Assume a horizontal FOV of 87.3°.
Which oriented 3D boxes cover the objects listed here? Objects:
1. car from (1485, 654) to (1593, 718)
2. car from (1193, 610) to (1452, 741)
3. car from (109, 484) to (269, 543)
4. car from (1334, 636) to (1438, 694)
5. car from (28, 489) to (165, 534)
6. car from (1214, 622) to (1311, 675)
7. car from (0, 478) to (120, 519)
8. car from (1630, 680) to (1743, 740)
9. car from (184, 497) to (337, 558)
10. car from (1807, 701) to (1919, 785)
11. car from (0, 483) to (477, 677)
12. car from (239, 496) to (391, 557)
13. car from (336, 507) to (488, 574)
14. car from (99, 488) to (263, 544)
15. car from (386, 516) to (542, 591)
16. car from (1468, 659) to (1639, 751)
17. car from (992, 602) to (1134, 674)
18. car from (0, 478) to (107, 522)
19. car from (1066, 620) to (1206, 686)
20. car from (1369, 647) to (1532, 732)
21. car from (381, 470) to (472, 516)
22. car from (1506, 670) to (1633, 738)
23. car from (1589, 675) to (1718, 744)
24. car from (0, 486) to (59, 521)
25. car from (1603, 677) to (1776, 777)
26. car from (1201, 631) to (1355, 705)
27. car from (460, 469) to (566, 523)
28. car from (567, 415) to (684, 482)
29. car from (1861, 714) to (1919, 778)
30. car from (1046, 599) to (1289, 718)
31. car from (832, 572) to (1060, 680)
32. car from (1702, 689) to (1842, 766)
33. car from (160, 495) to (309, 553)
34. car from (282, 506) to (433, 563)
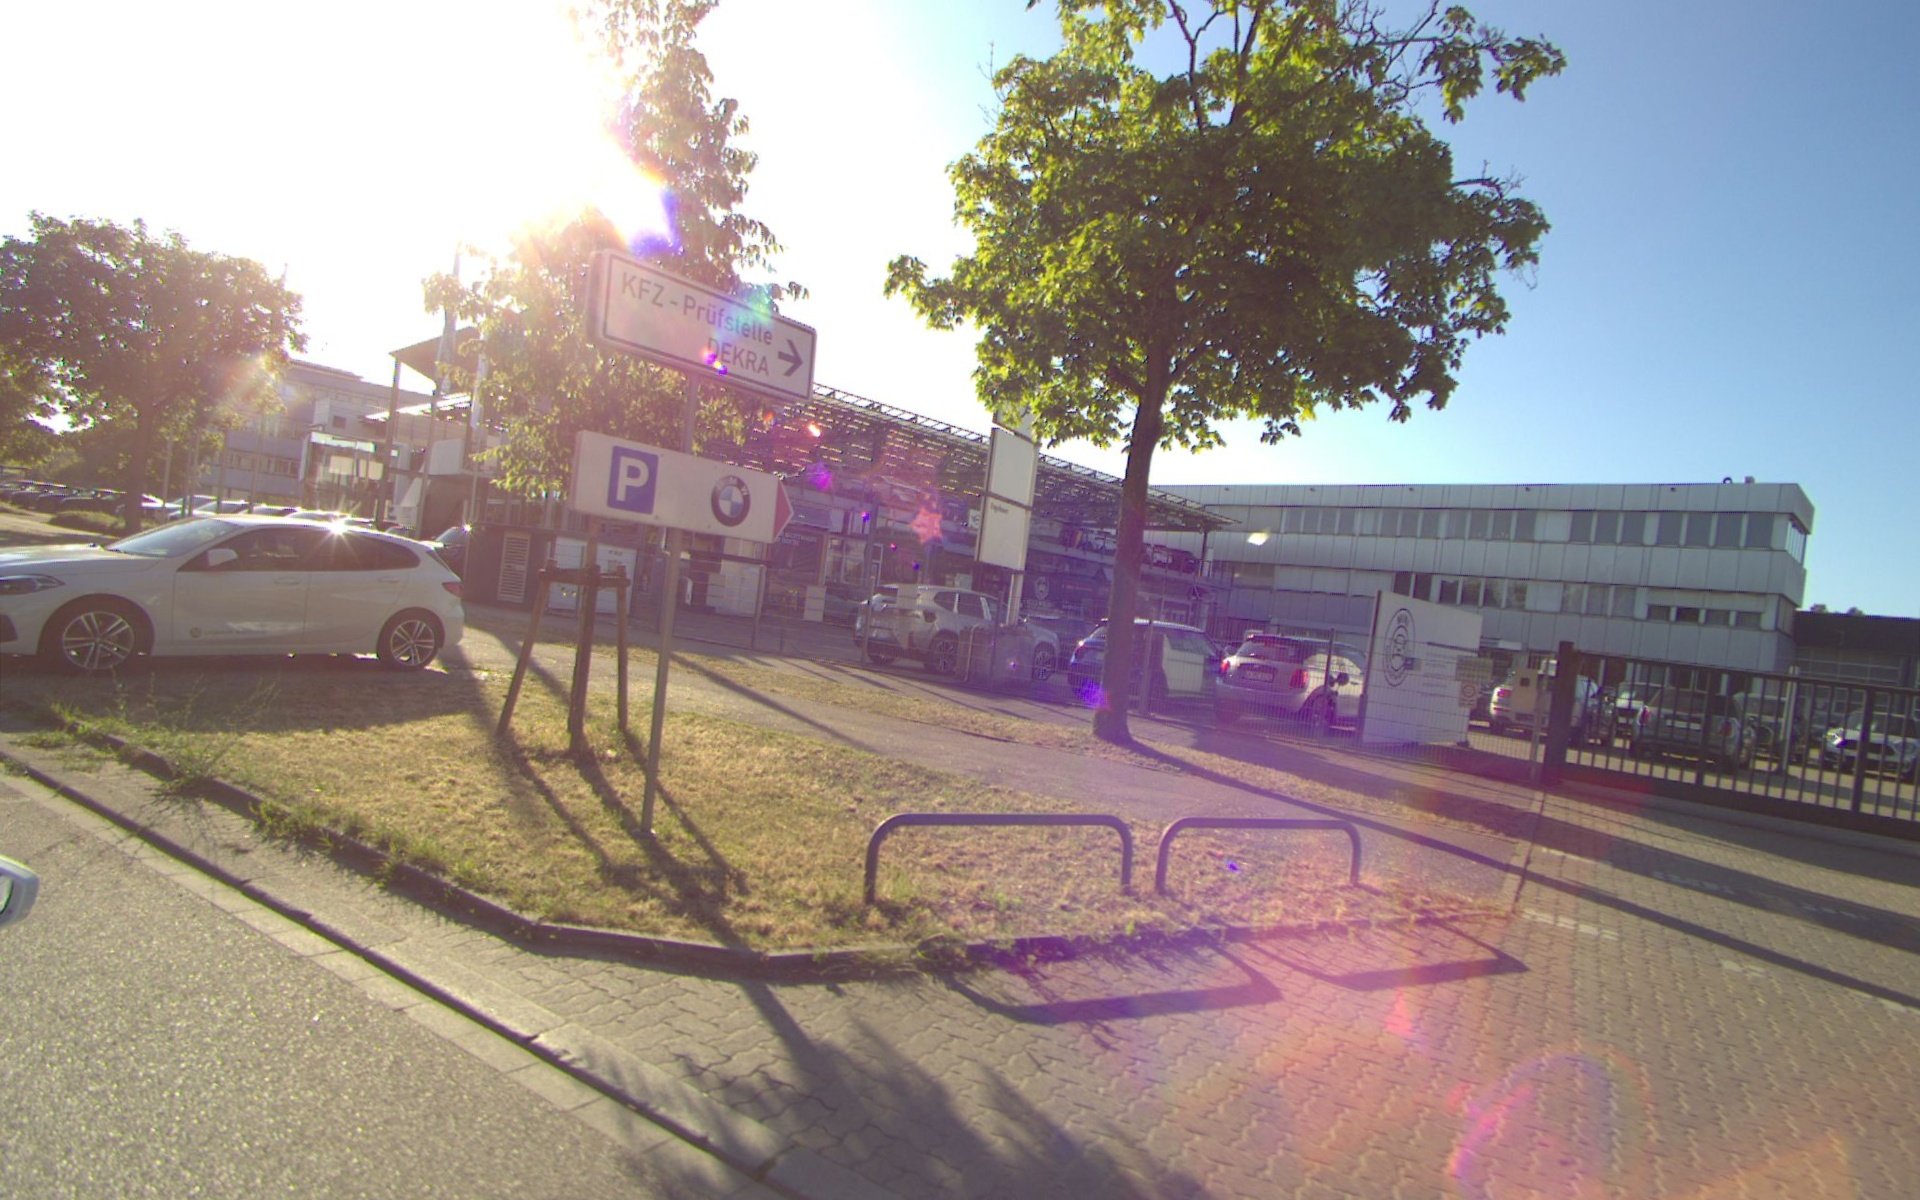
[{"bbox_3d":[19.747,2.945,34.248,3.973,1.762,1.976,7,0,-43],"label":"car"},{"bbox_3d":[5.763,1.221,15.813,3.969,1.598,1.978,7,0,-40],"label":"car"},{"bbox_3d":[-30.460,-3.363,39.960,2.365,1.712,4.728,7,1,5],"label":"car"},{"bbox_3d":[16.015,2.454,37.755,3.973,1.762,1.976,7,0,-43],"label":"car"},{"bbox_3d":[-43.131,-4.410,50.373,4.718,1.482,1.992,7,0,-17],"label":"car"},{"bbox_3d":[12.590,2.033,41.826,3.973,1.762,1.976,7,0,-43],"label":"car"},{"bbox_3d":[-48.800,-5.471,54.336,4.718,1.482,2.039,7,0,-17],"label":"car"},{"bbox_3d":[23.433,3.570,32.402,3.969,1.493,1.827,7,2,-39],"label":"car"},{"bbox_3d":[-25.355,-2.581,36.695,1.962,1.593,4.606,7,0,5],"label":"car"},{"bbox_3d":[22.695,3.512,24.787,3.969,1.598,1.978,7,0,-39],"label":"car"},{"bbox_3d":[-7.295,-0.169,9.764,2.053,1.462,4.202,7,1,30],"label":"car"},{"bbox_3d":[-22.507,-2.520,35.364,1.962,1.594,4.604,7,1,5],"label":"car"},{"bbox_3d":[-17.573,-1.849,32.549,1.962,1.688,4.604,7,1,5],"label":"car"},{"bbox_3d":[-33.605,-3.592,43.568,5.108,1.591,1.995,7,0,-13],"label":"car"},{"bbox_3d":[-14.928,-1.338,30.610,1.962,1.686,4.608,8,-1,6],"label":"car"},{"bbox_3d":[12.706,2.248,21.450,3.972,1.549,1.901,7,0,-42],"label":"car"},{"bbox_3d":[3.233,1.190,31.141,3.969,1.599,1.976,7,5,-40],"label":"car"},{"bbox_3d":[-43.399,-4.779,47.129,4.712,1.482,1.995,7,0,-13],"label":"car"},{"bbox_3d":[5.307,1.601,30.128,3.969,1.597,1.979,7,-2,-40],"label":"car"},{"bbox_3d":[11.377,2.093,23.235,3.972,1.549,1.901,7,0,-42],"label":"car"},{"bbox_3d":[-29.779,-5.966,56.231,1.764,1.685,3.982,8,-2,44],"label":"car"},{"bbox_3d":[18.062,3.094,29.757,3.969,1.598,1.884,7,0,-39],"label":"car"},{"bbox_3d":[19.462,3.094,28.182,3.969,1.597,1.885,7,-2,-39],"label":"car"},{"bbox_3d":[-49.024,-5.088,50.835,4.718,1.482,1.992,7,0,-17],"label":"car"},{"bbox_3d":[14.597,2.511,20.056,3.972,1.549,1.901,7,0,-42],"label":"car"},{"bbox_3d":[8.498,1.831,26.764,3.969,1.597,1.979,7,-2,-40],"label":"car"},{"bbox_3d":[-20.696,-4.806,46.707,1.764,1.685,3.982,8,-2,44],"label":"car"},{"bbox_3d":[-13.549,-6.084,40.834,1.764,1.685,3.982,8,-2,45],"label":"car"},{"bbox_3d":[26.876,4.151,28.072,3.969,1.493,1.827,7,2,-39],"label":"car"},{"bbox_3d":[3.669,1.053,17.494,3.969,1.598,1.978,7,0,-40],"label":"car"},{"bbox_3d":[-0.216,0.537,19.626,3.969,1.598,1.978,7,0,-40],"label":"car"},{"bbox_3d":[21.296,3.339,26.342,3.969,1.598,1.978,7,0,-39],"label":"car"},{"bbox_3d":[-27.557,-2.849,38.432,1.962,1.593,4.606,7,0,5],"label":"car"},{"bbox_3d":[-20.130,-2.157,33.870,1.962,1.596,4.600,6,3,5],"label":"car"}]
